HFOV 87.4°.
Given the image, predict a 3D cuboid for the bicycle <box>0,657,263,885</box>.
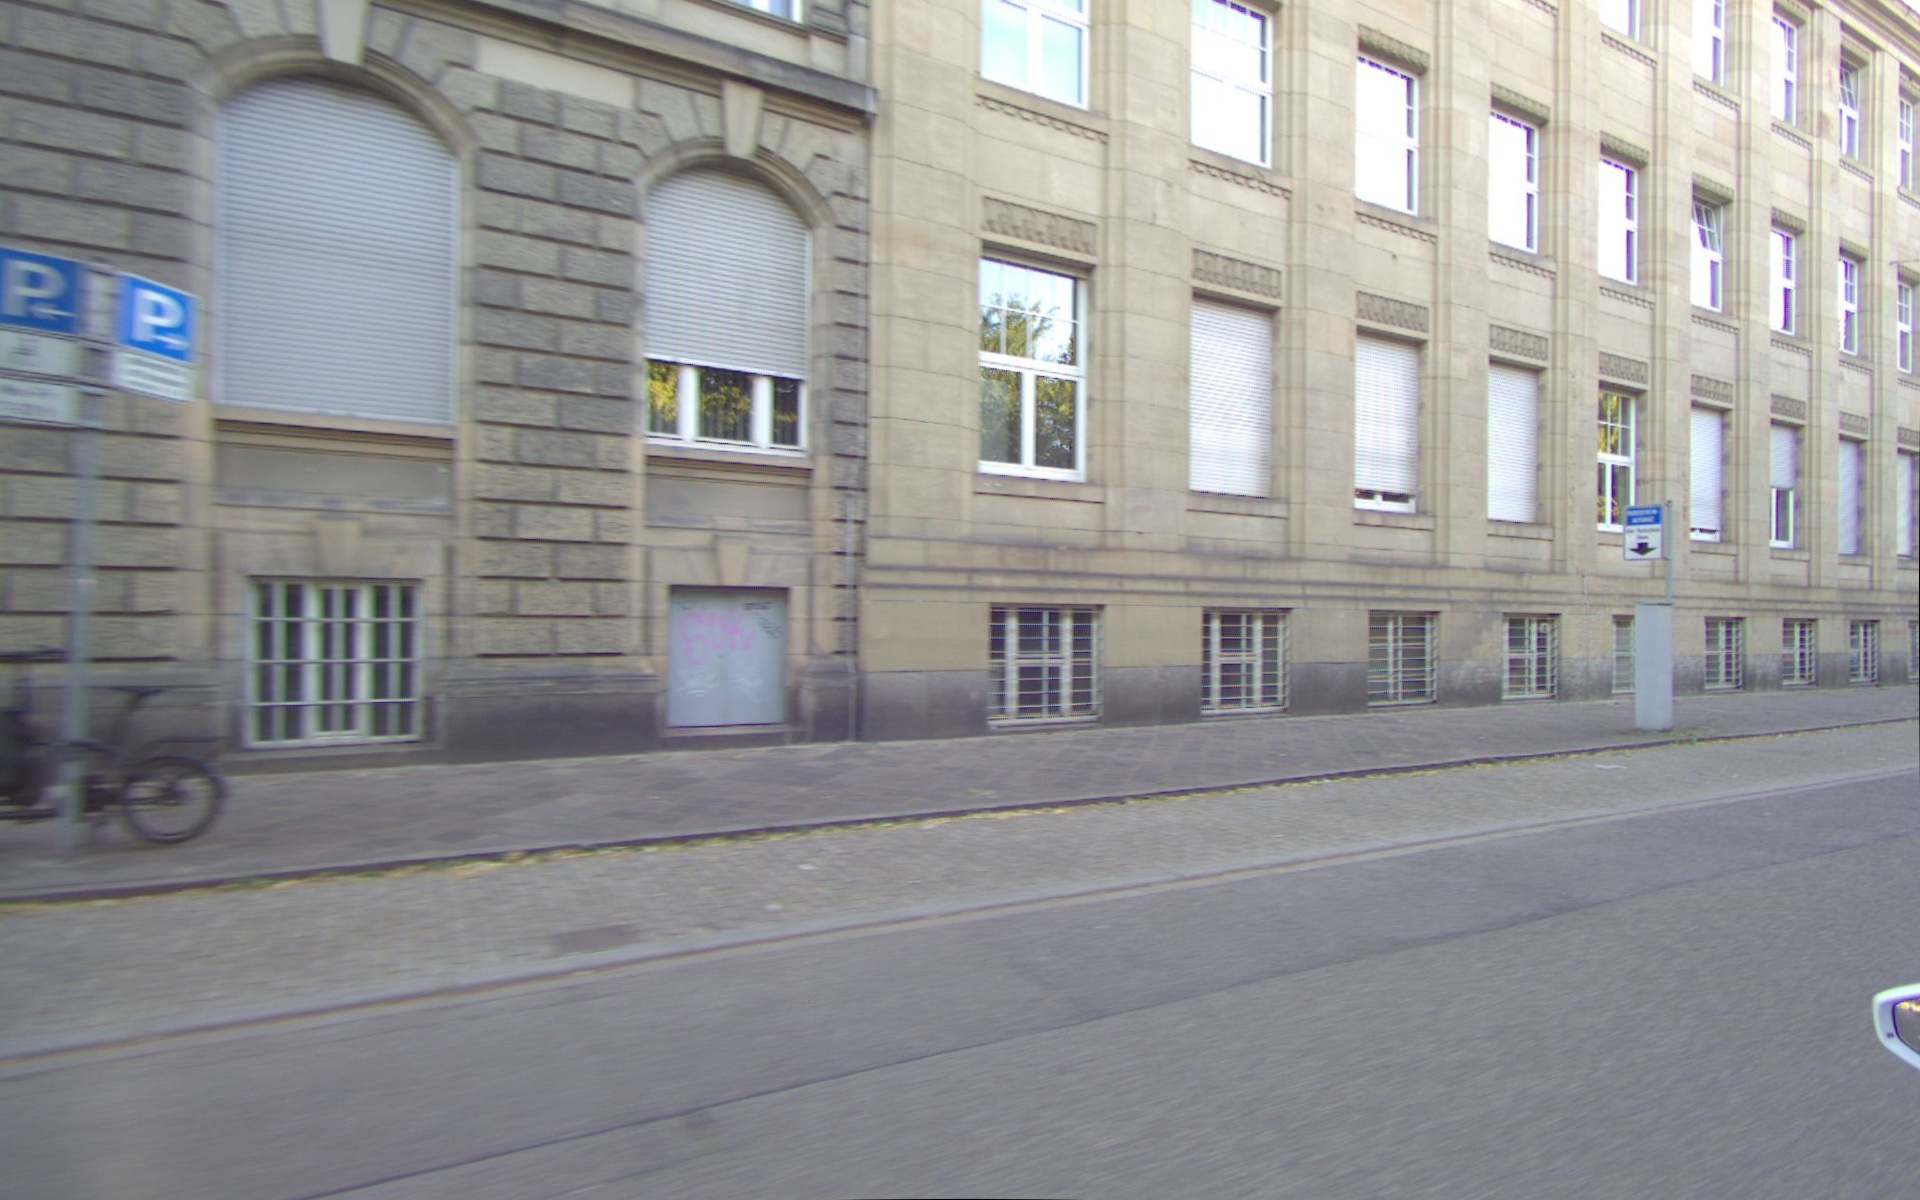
[{"bbox_3d":[-5.155,0.915,5.594,1.955,1.116,0.849,1,1,-26],"label":"bicycle"}]
